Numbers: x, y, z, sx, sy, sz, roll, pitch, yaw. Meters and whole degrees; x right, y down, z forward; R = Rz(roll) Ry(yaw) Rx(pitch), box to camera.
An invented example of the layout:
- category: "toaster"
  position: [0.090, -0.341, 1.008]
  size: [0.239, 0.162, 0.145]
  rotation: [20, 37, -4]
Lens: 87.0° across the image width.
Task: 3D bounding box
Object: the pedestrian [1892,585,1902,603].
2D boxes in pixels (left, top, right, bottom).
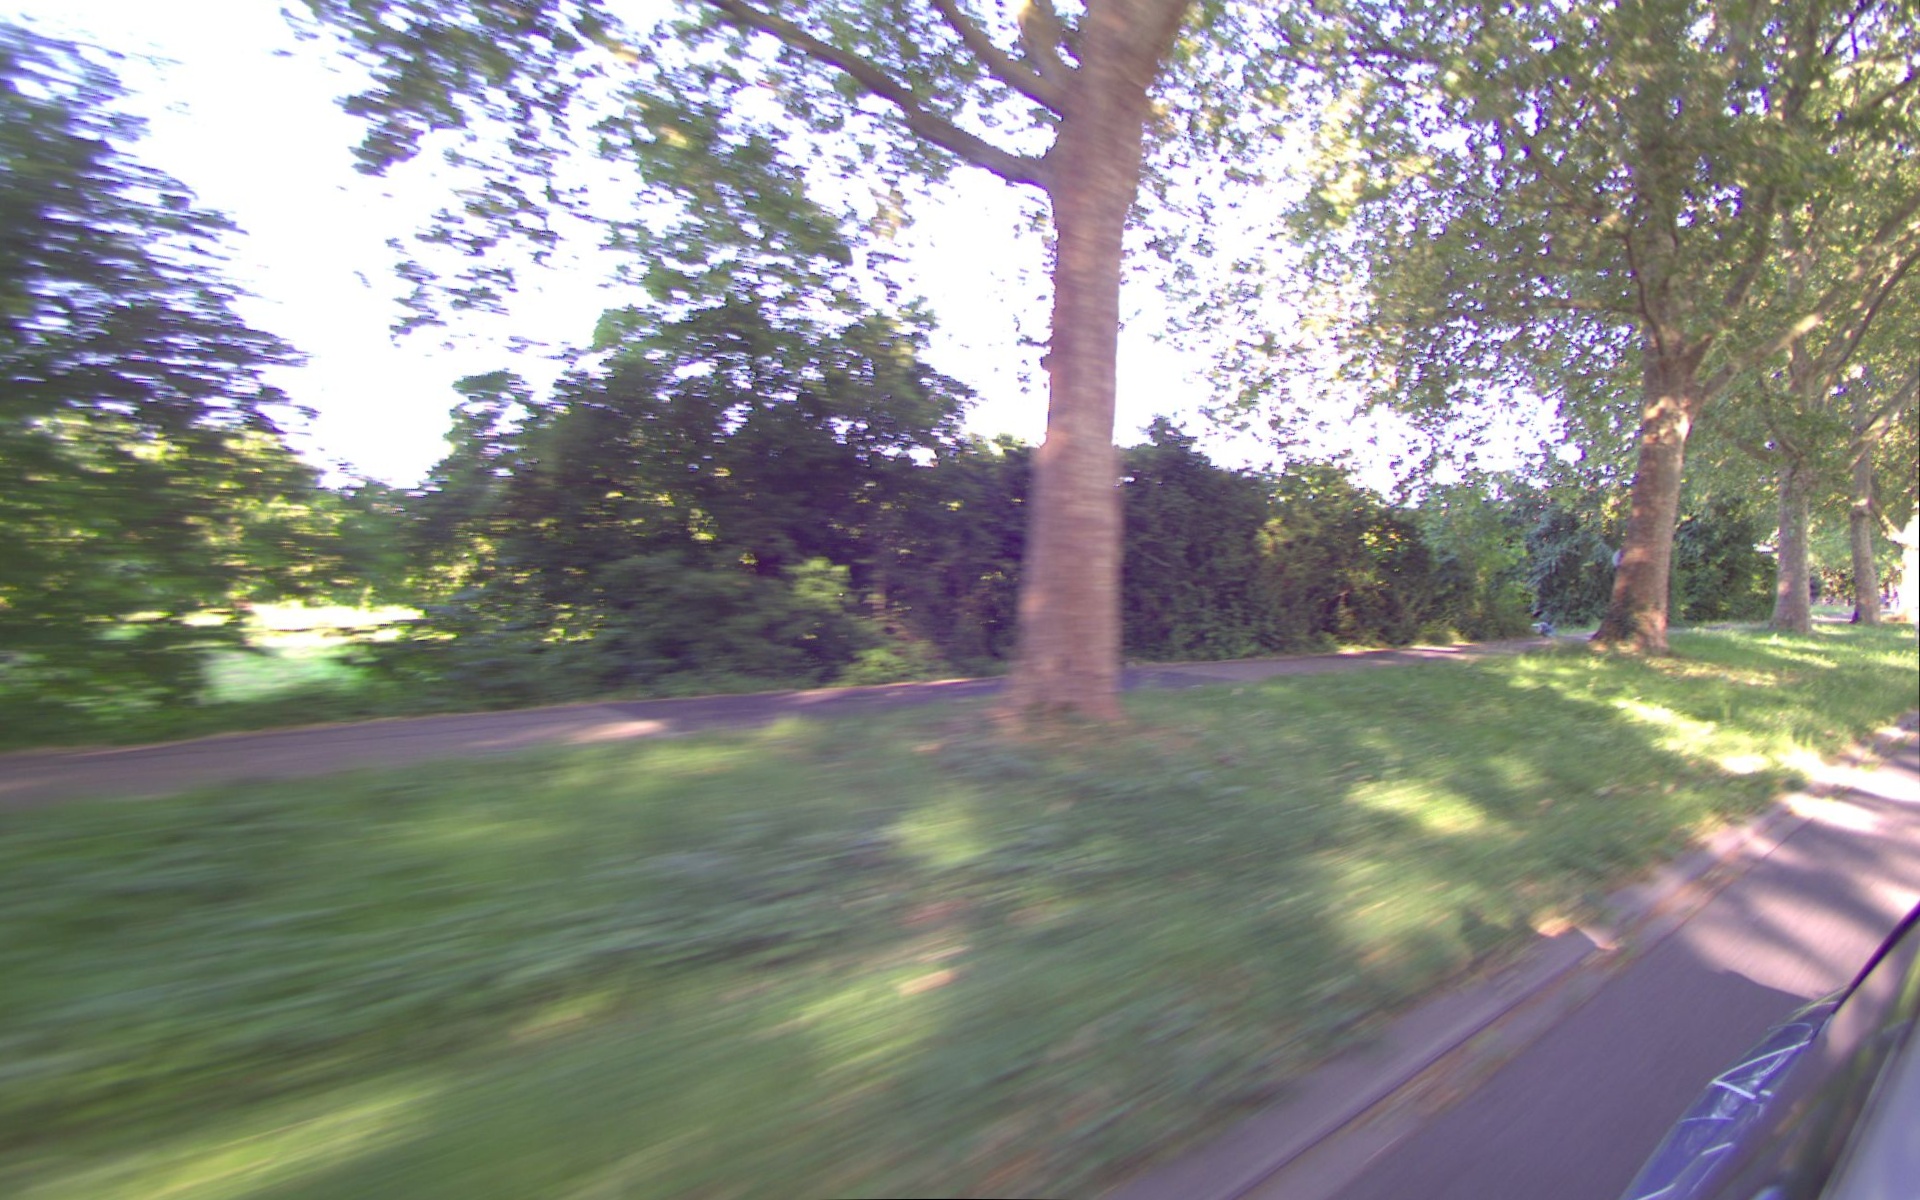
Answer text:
- category: "pedestrian"
  position: [100.688, -0.678, 108.741]
  size: [0.789, 1.870, 0.755]
  rotation: [0, 1, -44]
